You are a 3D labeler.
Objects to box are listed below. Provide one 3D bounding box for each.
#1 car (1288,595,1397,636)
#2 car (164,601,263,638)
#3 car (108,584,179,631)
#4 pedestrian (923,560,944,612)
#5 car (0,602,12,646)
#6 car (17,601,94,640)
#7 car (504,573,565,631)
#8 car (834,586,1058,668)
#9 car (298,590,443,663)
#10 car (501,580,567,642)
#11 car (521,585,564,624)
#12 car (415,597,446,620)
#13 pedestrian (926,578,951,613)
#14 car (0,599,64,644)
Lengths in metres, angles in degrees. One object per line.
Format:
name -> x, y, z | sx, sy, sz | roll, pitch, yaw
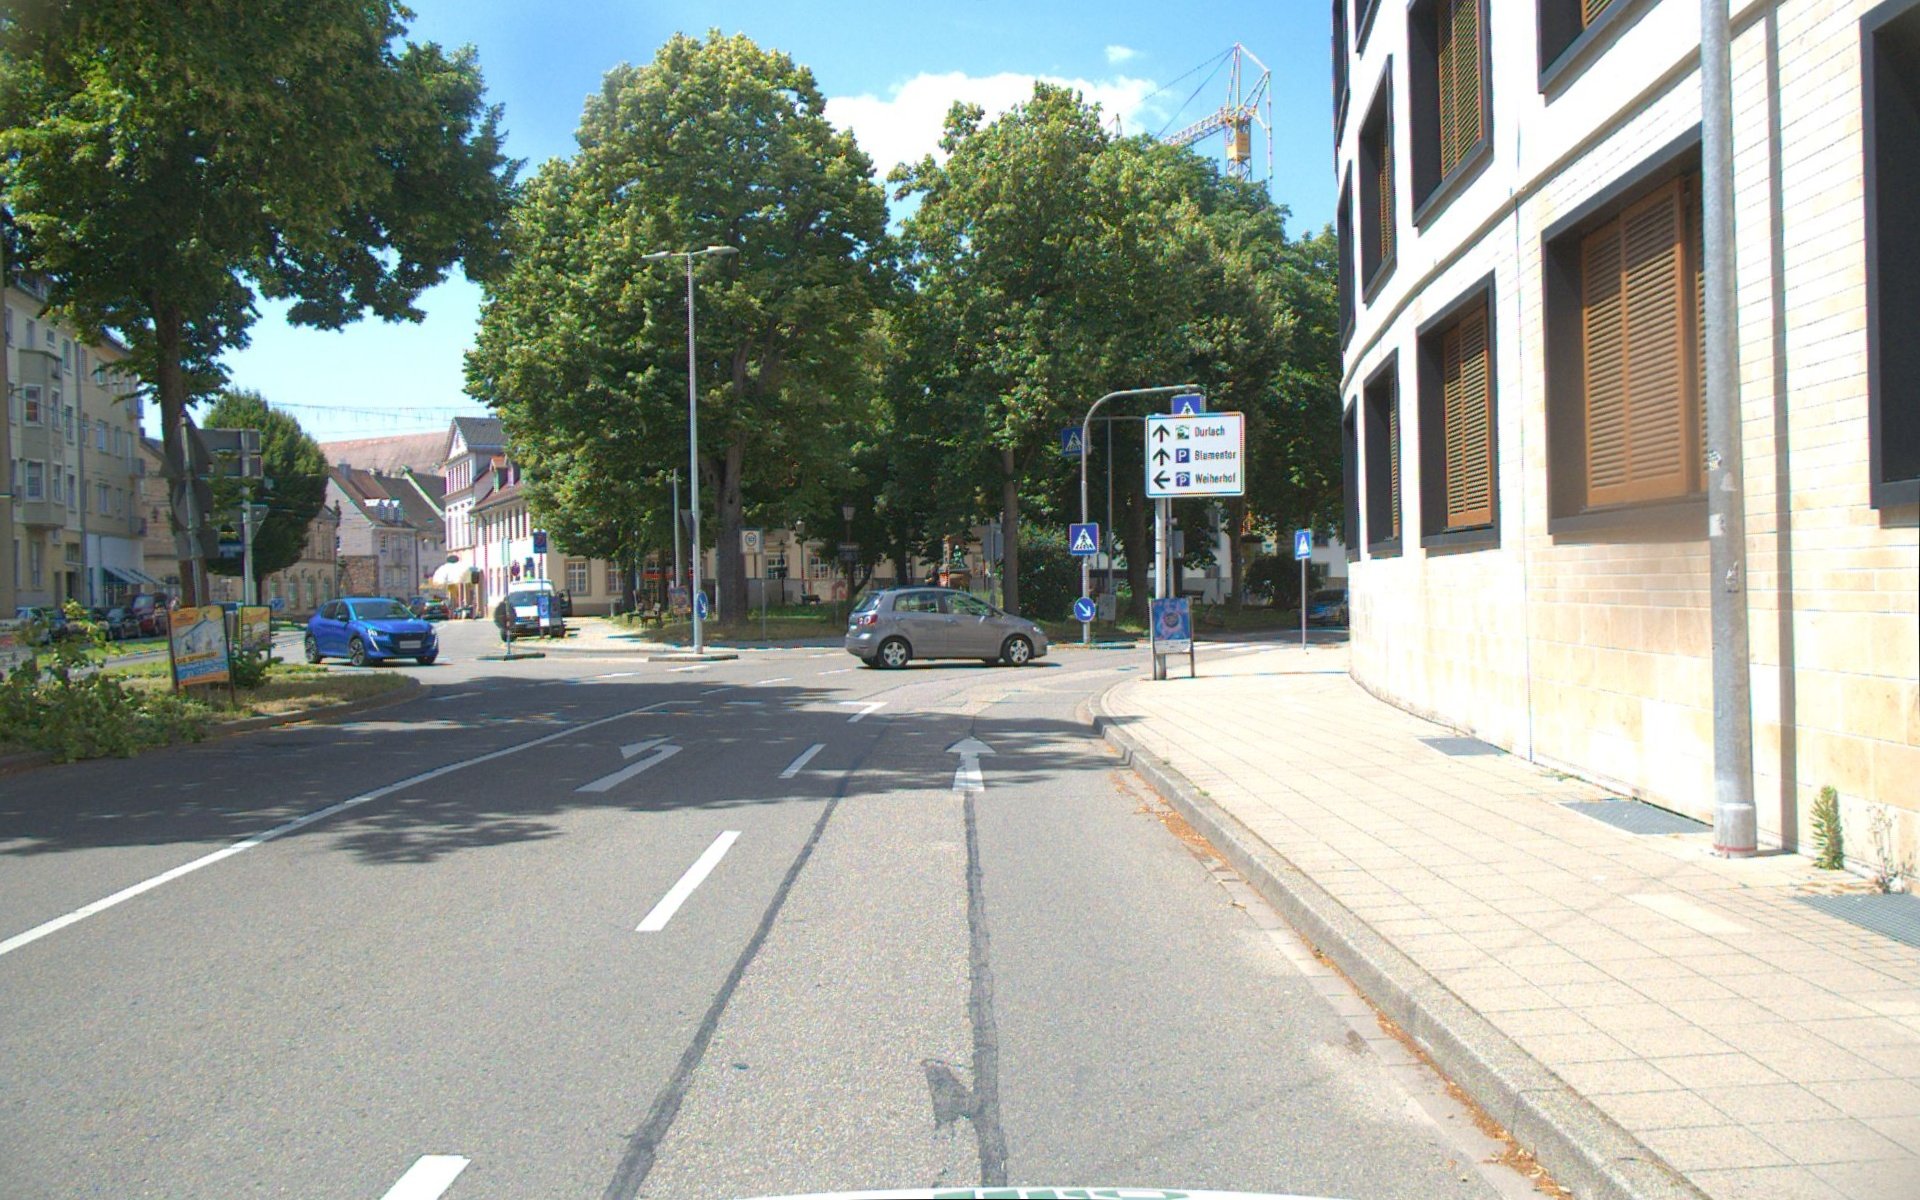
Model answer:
car -> 15.098, 0.571, 65.190 | 4.357, 1.514, 1.722 | -1, 0, -35
car -> -36.432, 0.955, 80.838 | 4.140, 1.531, 1.993 | -3, 1, -19
car -> -36.845, 0.318, 74.737 | 1.822, 1.944, 4.753 | -3, 1, -15
pedestrian -> -1.014, -0.538, 63.445 | 0.732, 1.944, 0.684 | -1, 2, 0
car -> -30.818, 0.818, 51.082 | 1.658, 1.383, 3.842 | -3, 1, -15
car -> -33.407, 0.746, 61.157 | 1.658, 1.300, 3.276 | -3, 1, -15
car -> -15.797, 0.064, 61.615 | 2.014, 2.037, 5.231 | -1, 1, -13
car -> -0.302, 0.511, 33.267 | 4.162, 1.560, 1.901 | 0, 0, -17
car -> -13.169, 0.552, 36.830 | 1.798, 1.518, 3.942 | 1, 0, -40
car -> -13.662, 0.330, 53.037 | 1.960, 1.858, 4.405 | -1, 1, -15
car -> -19.028, 0.189, 75.497 | 1.752, 1.723, 4.186 | -1, 1, -13
car -> -36.749, 0.569, 114.836 | 1.834, 1.512, 3.975 | -1, 0, -21
pedestrian -> -0.798, -0.170, 62.534 | 0.887, 1.273, 1.148 | -1, 2, 1
car -> -32.104, 0.730, 56.518 | 1.658, 1.414, 3.842 | -3, 1, -15
